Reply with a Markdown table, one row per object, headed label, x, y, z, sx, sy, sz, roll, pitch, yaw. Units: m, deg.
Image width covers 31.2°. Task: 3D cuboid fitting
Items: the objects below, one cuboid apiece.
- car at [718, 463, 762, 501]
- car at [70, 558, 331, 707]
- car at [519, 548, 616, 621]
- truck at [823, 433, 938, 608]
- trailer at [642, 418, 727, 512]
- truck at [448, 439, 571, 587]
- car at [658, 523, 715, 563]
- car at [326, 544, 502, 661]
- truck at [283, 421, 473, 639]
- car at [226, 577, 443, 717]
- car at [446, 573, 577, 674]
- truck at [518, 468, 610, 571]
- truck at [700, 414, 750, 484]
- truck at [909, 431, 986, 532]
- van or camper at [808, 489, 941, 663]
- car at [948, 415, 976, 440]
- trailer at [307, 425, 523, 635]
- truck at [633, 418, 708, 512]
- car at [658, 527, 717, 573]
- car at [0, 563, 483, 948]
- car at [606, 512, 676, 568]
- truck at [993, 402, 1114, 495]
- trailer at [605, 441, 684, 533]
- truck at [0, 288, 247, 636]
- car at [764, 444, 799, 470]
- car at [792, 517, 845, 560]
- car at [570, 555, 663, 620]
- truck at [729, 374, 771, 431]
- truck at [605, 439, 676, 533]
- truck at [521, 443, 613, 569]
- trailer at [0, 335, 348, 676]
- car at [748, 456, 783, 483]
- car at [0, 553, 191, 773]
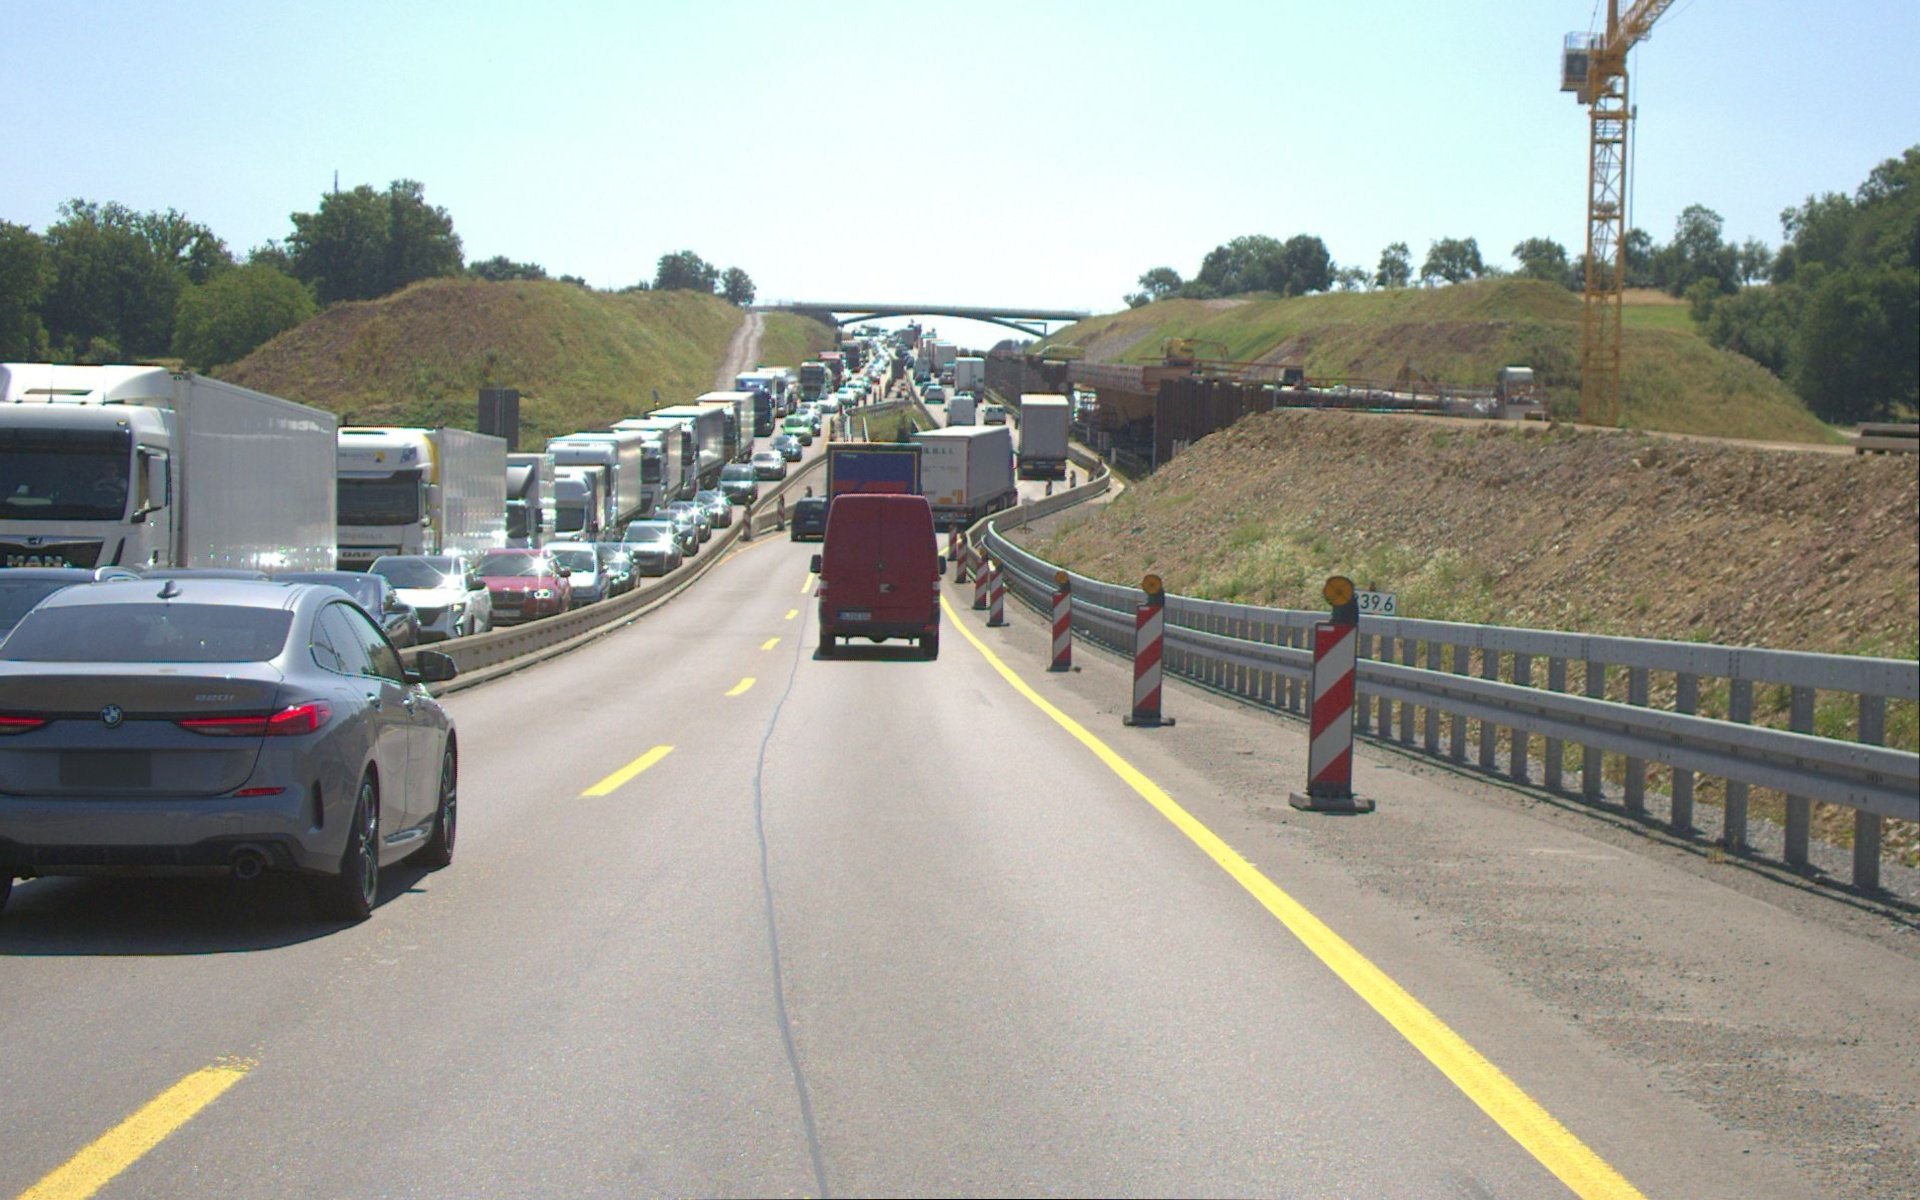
| label | x | y | z | sx | sy | sz | roll | pitch | yaw |
| --- | --- | --- | --- | --- | --- | --- | --- | --- | --- |
| car | -10.456 | -5.606 | 163.527 | 1.993 | 1.777 | 4.001 | 0 | 2 | -3 |
| car | -7.719 | 0.287 | 35.339 | 1.832 | 1.418 | 4.684 | 0 | 1 | -2 |
| car | -8.742 | -0.356 | 76.742 | 1.827 | 1.568 | 4.000 | 1 | 0 | -2 |
| truck | -2.213 | -2.281 | 96.396 | 3.020 | 4.676 | 6.933 | -1 | 2 | -1 |
| trailer | -13.784 | -6.788 | 172.984 | 3.042 | 4.536 | 12.128 | 1 | 2 | 1 |
| truck | -12.327 | -2.408 | 94.606 | 2.524 | 3.842 | 8.672 | 1 | 2 | -2 |
| car | -10.412 | -2.196 | 131.253 | 1.902 | 1.371 | 4.547 | -2 | 2 | -2 |
| car | -8.114 | -0.003 | 51.493 | 1.993 | 1.615 | 4.883 | -2 | 1 | -2 |
| truck | -11.628 | -1.404 | 69.196 | 2.977 | 4.170 | 5.875 | 1 | 1 | -2 |
| car | -7.541 | 0.523 | 41.878 | 1.812 | 1.433 | 5.122 | 2 | 2 | -2 |
| car | -8.402 | 0.407 | 64.717 | 1.993 | 1.625 | 4.759 | 2 | 2 | -3 |
| truck | -12.536 | -2.622 | 109.309 | 2.433 | 3.137 | 7.025 | 0 | 2 | -3 |
| truck | -13.107 | -8.418 | 192.200 | 2.683 | 3.826 | 7.388 | 0 | 2 | -3 |
| truck | -0.562 | -4.965 | 145.072 | 3.038 | 4.086 | 7.085 | 0 | 1 | -2 |
| van or camper | -1.462 | -0.451 | 57.072 | 2.029 | 2.734 | 4.516 | 1 | 2 | -3 |
| car | 0.156 | -12.706 | 253.977 | 1.952 | 1.635 | 4.268 | 1 | 1 | -1 |
| trailer | -11.873 | -1.565 | 76.272 | 2.986 | 4.194 | 13.948 | 1 | 1 | -2 |
| truck | -14.014 | -6.571 | 166.811 | 3.052 | 4.465 | 5.981 | 1 | 2 | 1 |
| car | -9.567 | -1.765 | 121.085 | 1.827 | 1.530 | 4.547 | -2 | 1 | -2 |
| car | -3.374 | 0.575 | 15.638 | 1.851 | 1.447 | 4.742 | 0 | 1 | -1 |
| car | -9.777 | -1.832 | 105.510 | 1.827 | 1.645 | 4.547 | 2 | 1 | -2 |
| truck | 5.409 | -8.548 | 195.214 | 5.162 | 4.979 | 13.872 | -1 | 2 | 8 |
| trailer | -13.923 | -4.957 | 152.520 | 2.783 | 3.918 | 11.009 | 1 | 1 | -2 |
| truck | -11.440 | -1.769 | 44.918 | 3.097 | 4.183 | 6.703 | 1 | 2 | -3 |
| car | -10.721 | -8.585 | 206.421 | 1.952 | 1.524 | 4.268 | 1 | 2 | -1 |
| car | -5.504 | -2.401 | 133.588 | 2.011 | 1.539 | 4.133 | 1 | 2 | -3 |
| car | -8.782 | -0.341 | 88.176 | 1.993 | 1.551 | 4.339 | -2 | 1 | -1 |
| truck | -14.898 | -14.014 | 244.540 | 2.887 | 3.826 | 8.004 | 0 | 2 | -3 |
| truck | -13.621 | -4.839 | 146.873 | 2.782 | 3.856 | 5.462 | 0 | 1 | -3 |
| truck | -13.579 | -3.308 | 119.178 | 2.550 | 4.216 | 6.531 | 0 | 2 | -1 |
| trailer | -11.720 | -1.371 | 51.395 | 3.140 | 4.368 | 14.080 | 1 | 1 | -2 |
| car | -10.496 | -7.057 | 185.779 | 1.747 | 1.404 | 4.001 | 1 | 2 | -1 |
| car | -7.395 | 0.400 | 26.487 | 1.918 | 1.418 | 5.091 | 2 | 1 | -2 |
